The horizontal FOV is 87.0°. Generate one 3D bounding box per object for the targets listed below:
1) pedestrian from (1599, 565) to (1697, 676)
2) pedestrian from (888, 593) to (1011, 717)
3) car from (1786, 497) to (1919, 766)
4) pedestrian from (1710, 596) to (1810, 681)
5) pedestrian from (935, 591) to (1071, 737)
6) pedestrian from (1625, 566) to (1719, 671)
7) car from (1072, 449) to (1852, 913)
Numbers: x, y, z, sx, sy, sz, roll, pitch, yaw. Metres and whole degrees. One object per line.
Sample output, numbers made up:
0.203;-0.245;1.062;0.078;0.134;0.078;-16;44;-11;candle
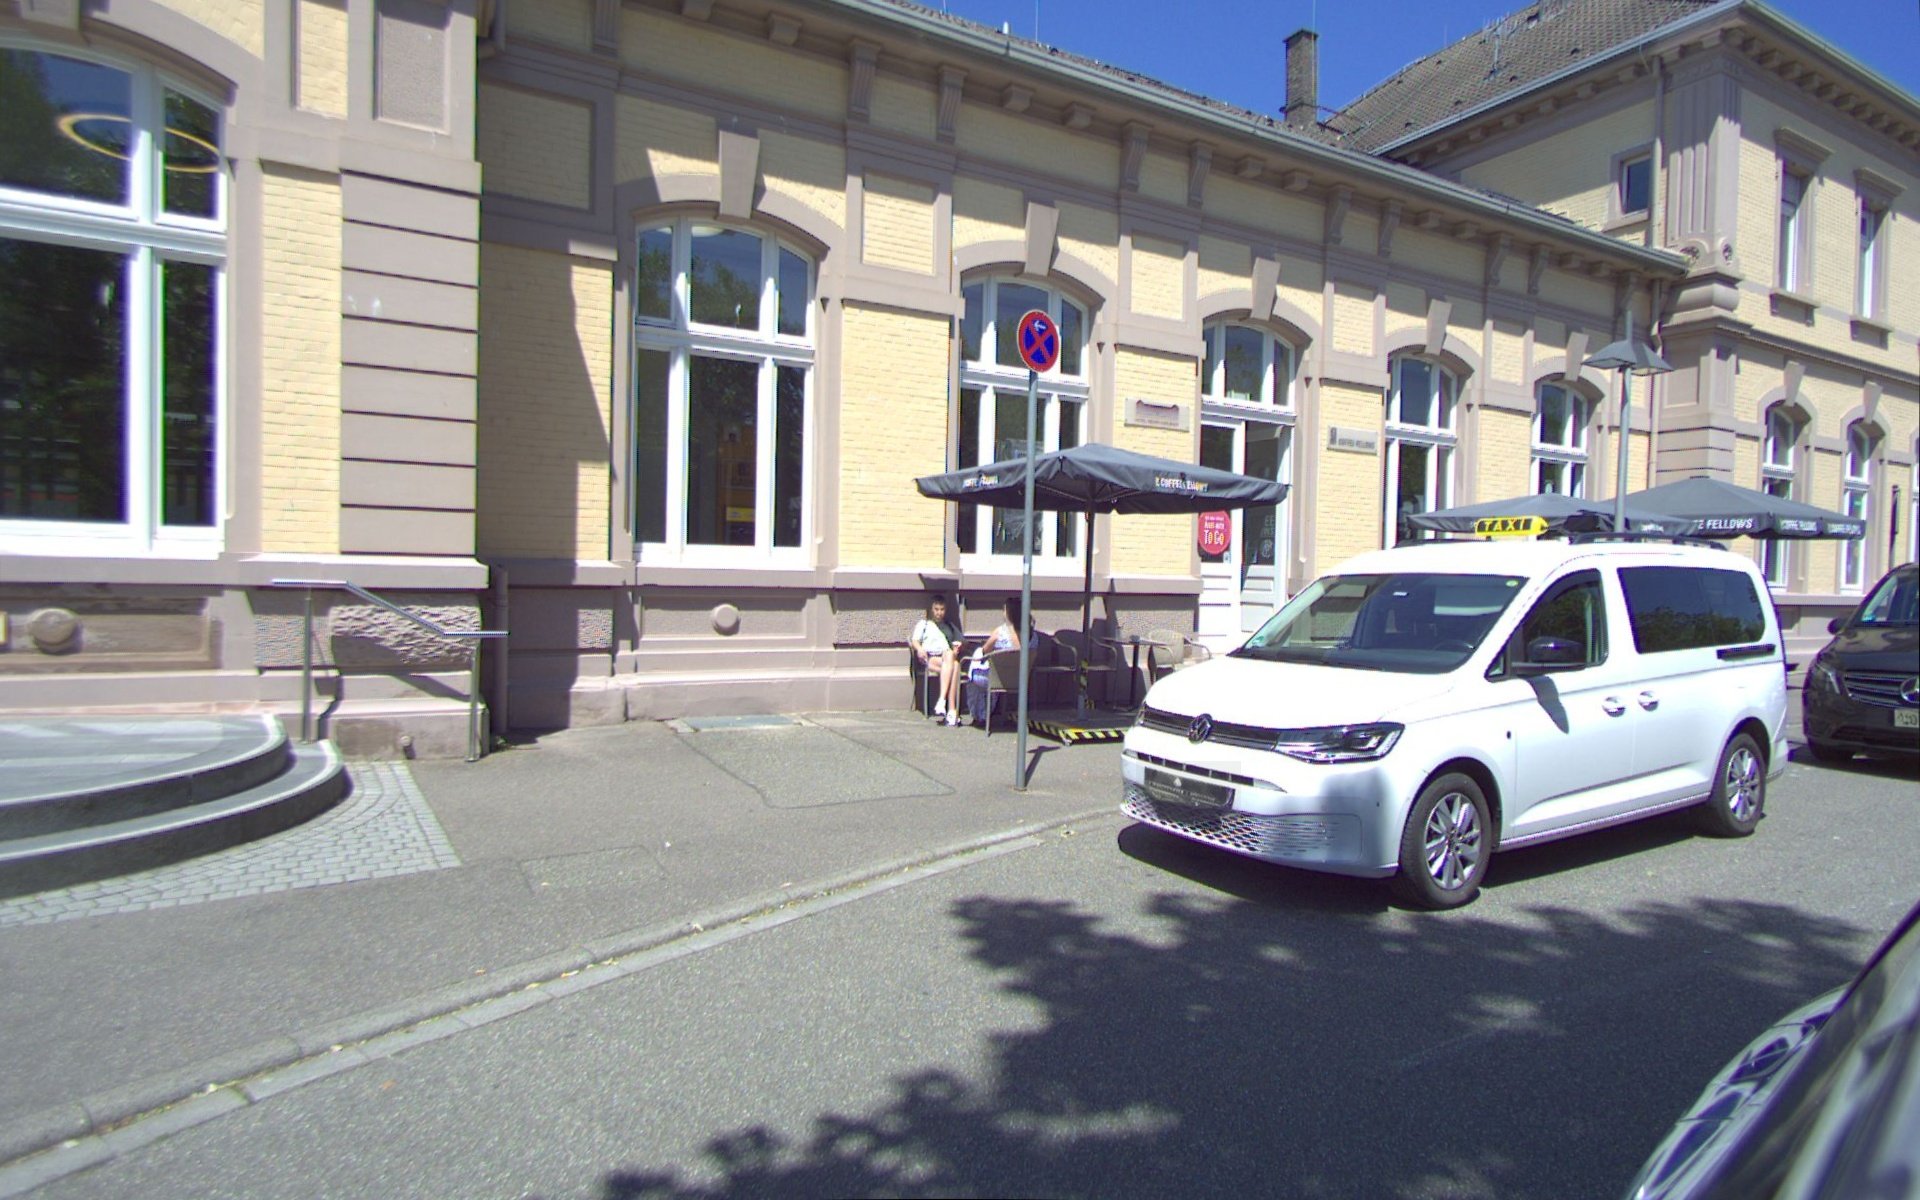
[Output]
10.350;0.289;15.236;0.835;1.562;0.883;0;3;-32;pedestrian
-0.114;0.507;9.948;0.835;1.092;0.883;0;4;-32;pedestrian
10.141;0.294;9.502;5.713;2.151;2.094;1;1;-34;car
12.066;0.558;15.275;0.864;1.178;0.853;1;3;-29;pedestrian
0.376;0.540;9.143;0.835;1.176;0.883;0;4;-33;pedestrian
11.302;0.274;16.075;0.835;1.562;0.883;0;3;-32;pedestrian
3.269;0.341;6.193;5.036;1.889;1.817;1;1;-31;car
